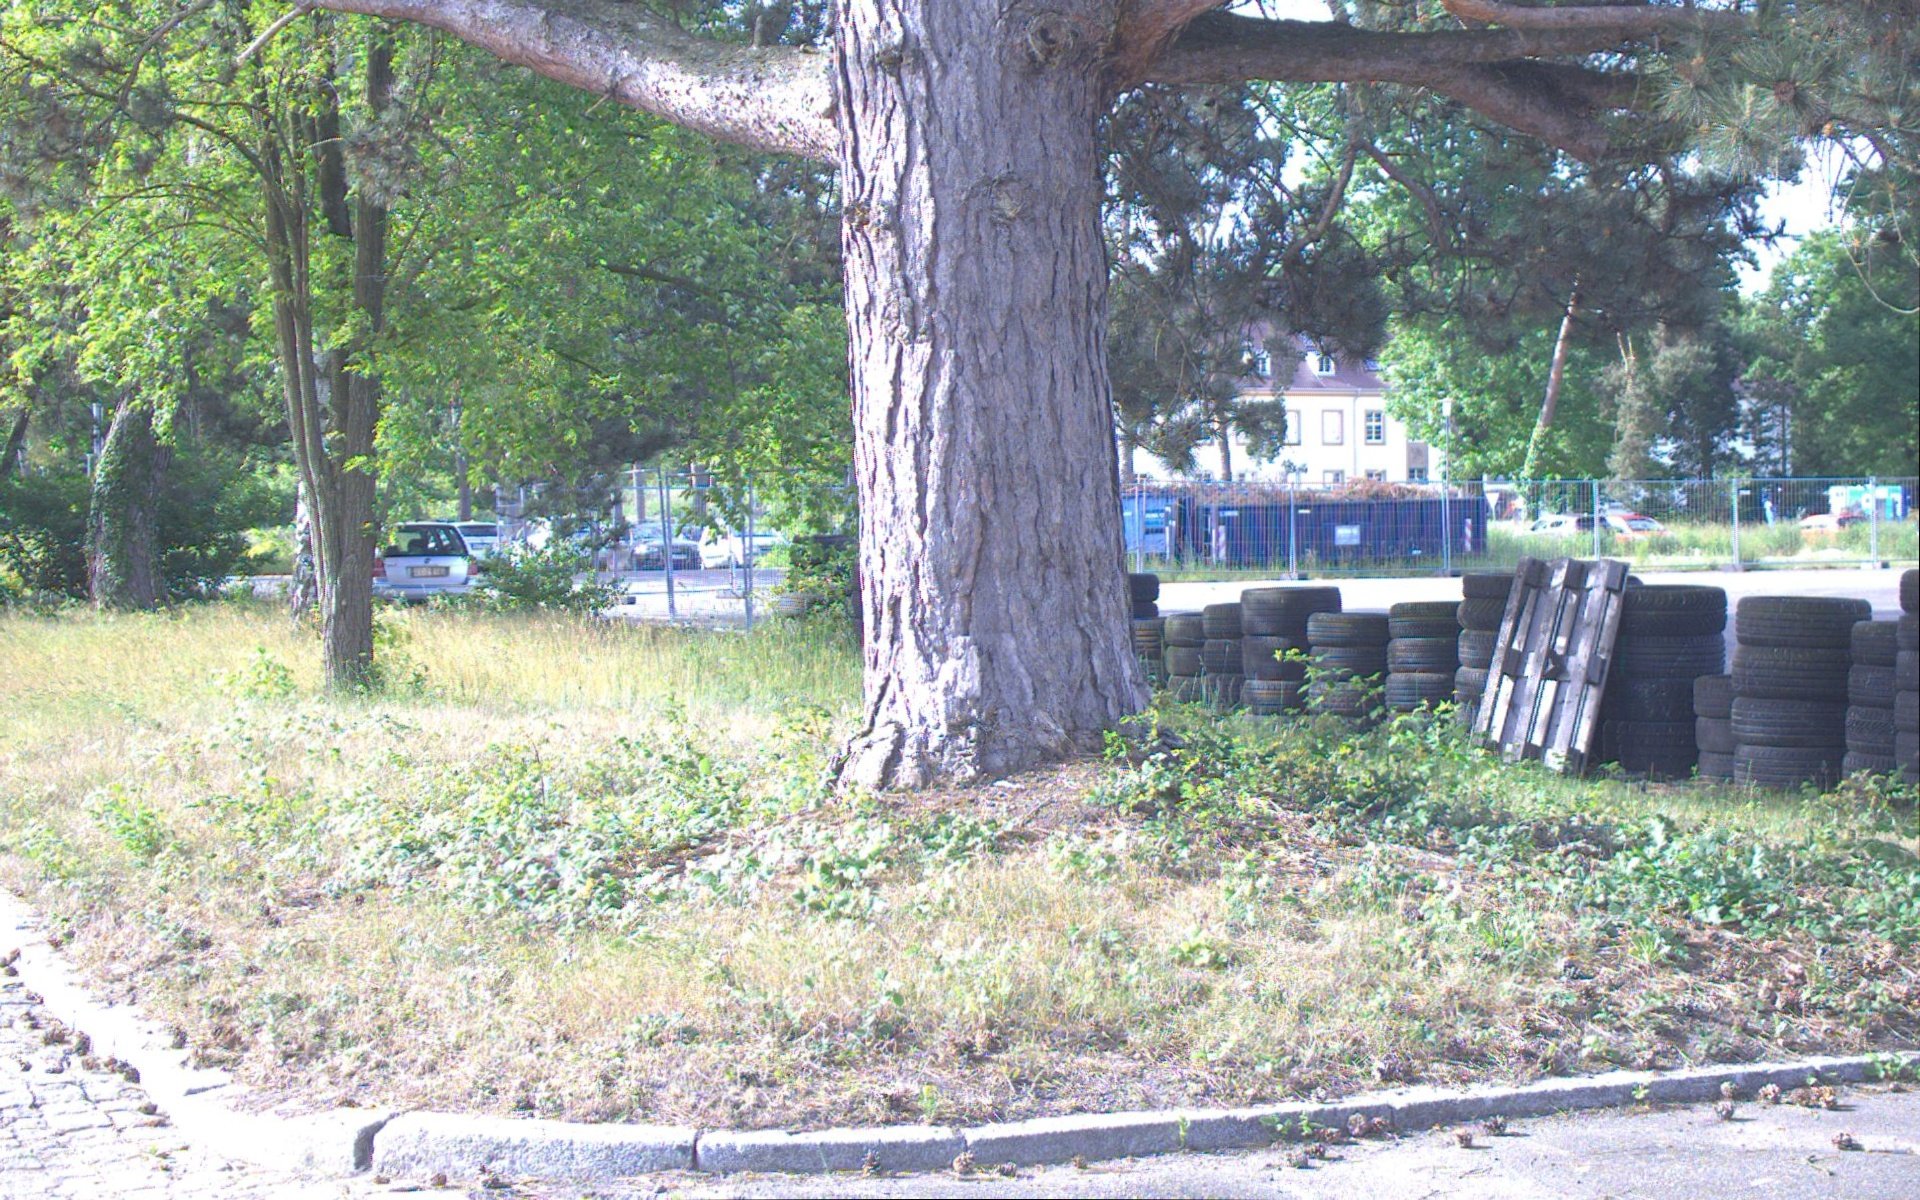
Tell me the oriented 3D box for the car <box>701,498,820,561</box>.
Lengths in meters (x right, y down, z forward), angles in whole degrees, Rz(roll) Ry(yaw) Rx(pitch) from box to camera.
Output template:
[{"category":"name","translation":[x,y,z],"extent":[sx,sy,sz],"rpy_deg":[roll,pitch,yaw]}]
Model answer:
[{"category":"car","translation":[-5.307,-1.869,91.146],"extent":[1.993,1.612,4.001],"rpy_deg":[-1,2,-21]}]

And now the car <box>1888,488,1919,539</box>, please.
[{"category":"car","translation":[33.784,-2.972,118.085],"extent":[1.993,1.744,4.001],"rpy_deg":[-1,2,-14]}]

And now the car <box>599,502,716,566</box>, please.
[{"category":"car","translation":[-7.926,-1.739,89.795],"extent":[1.993,1.612,4.001],"rpy_deg":[-1,2,-21]}]

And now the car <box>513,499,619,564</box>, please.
[{"category":"car","translation":[-10.179,-1.770,88.604],"extent":[1.820,1.612,4.001],"rpy_deg":[-1,2,-19]}]

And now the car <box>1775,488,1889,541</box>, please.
[{"category":"car","translation":[29.452,-2.897,116.232],"extent":[1.993,1.744,4.001],"rpy_deg":[-1,2,-16]}]

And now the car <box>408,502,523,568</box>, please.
[{"category":"car","translation":[-12.594,-1.656,87.383],"extent":[1.993,1.612,4.001],"rpy_deg":[-1,2,-21]}]

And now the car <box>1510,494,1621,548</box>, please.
[{"category":"car","translation":[19.820,-2.594,112.700],"extent":[1.993,1.744,4.001],"rpy_deg":[-1,2,-17]}]

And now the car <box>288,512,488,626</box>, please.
[{"category":"car","translation":[-8.175,-0.477,48.885],"extent":[1.886,1.535,4.001],"rpy_deg":[-1,2,-23]}]
